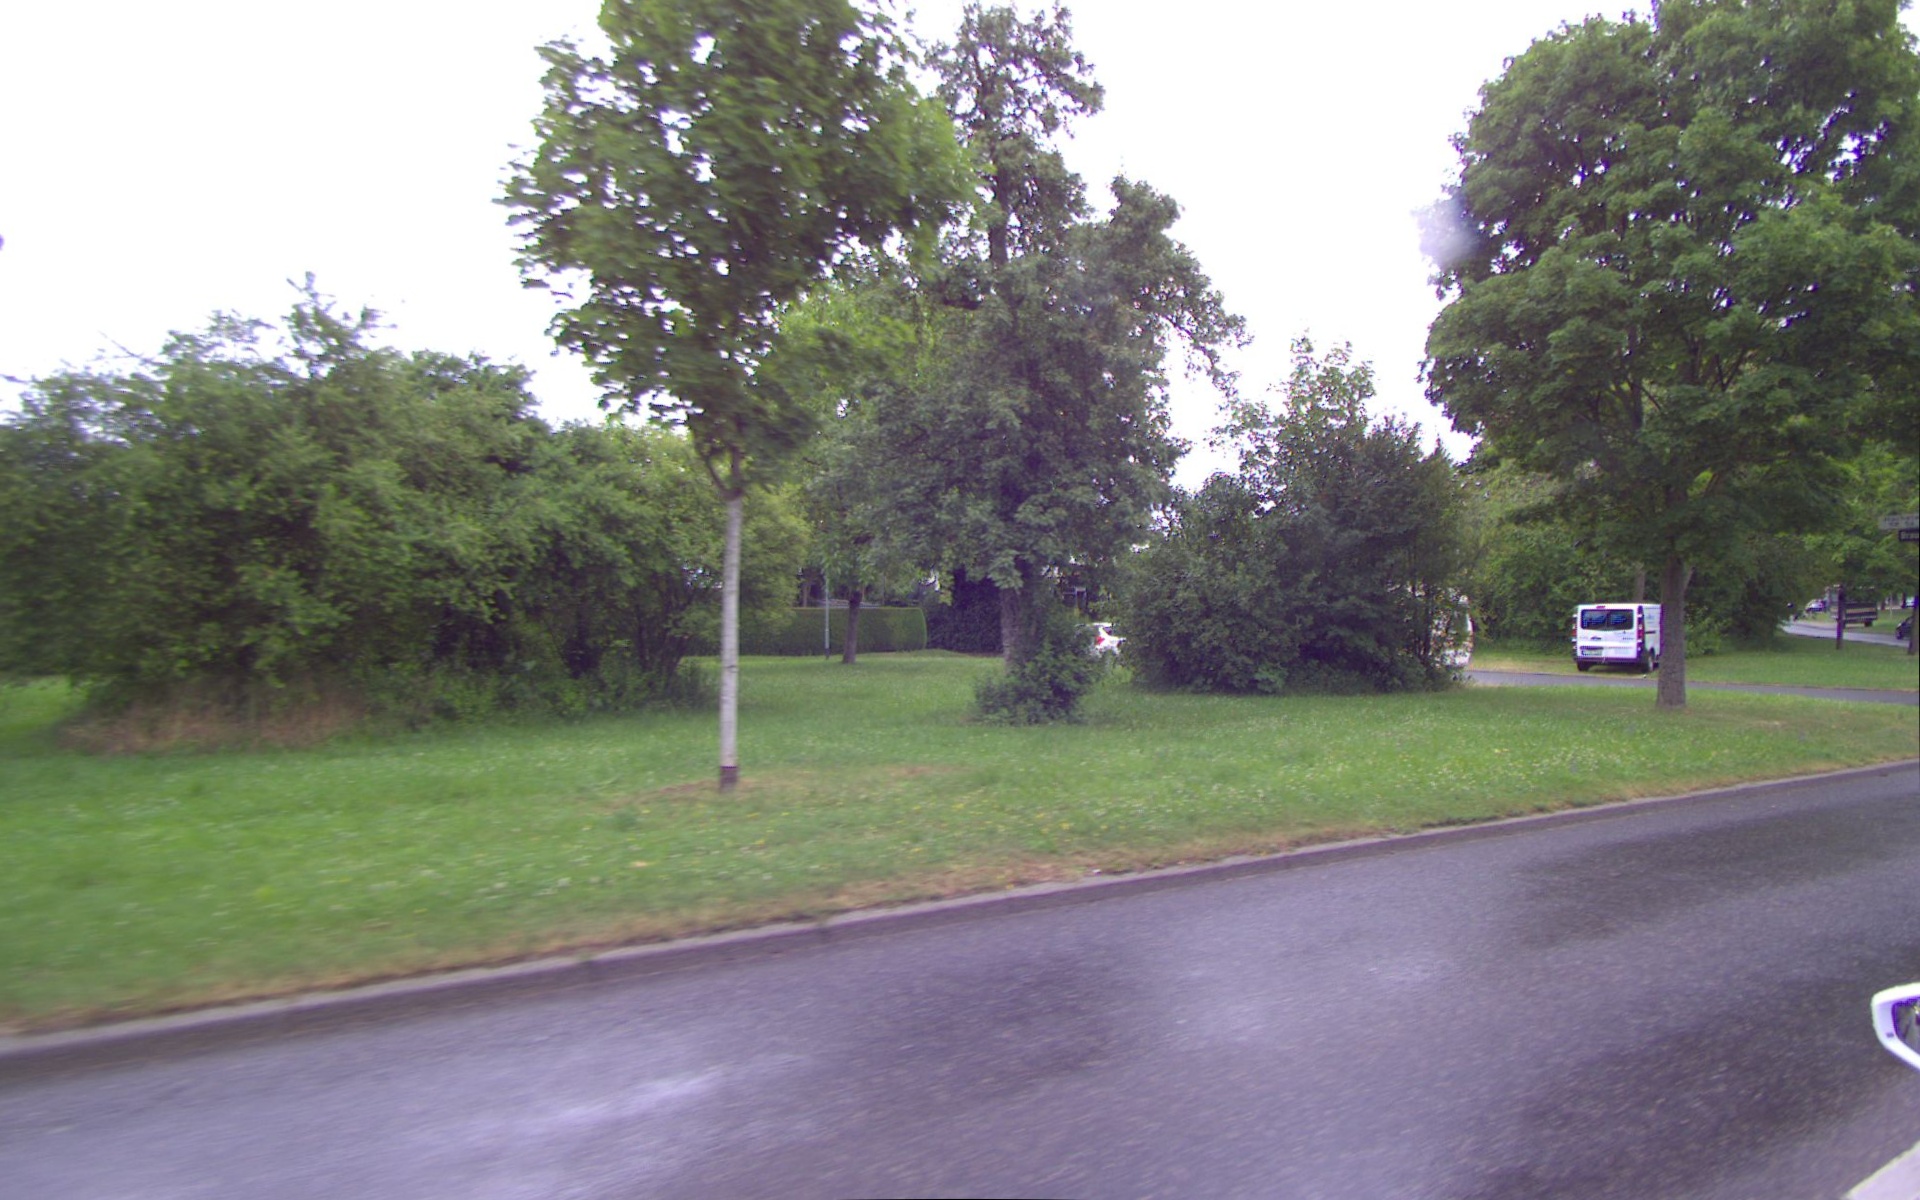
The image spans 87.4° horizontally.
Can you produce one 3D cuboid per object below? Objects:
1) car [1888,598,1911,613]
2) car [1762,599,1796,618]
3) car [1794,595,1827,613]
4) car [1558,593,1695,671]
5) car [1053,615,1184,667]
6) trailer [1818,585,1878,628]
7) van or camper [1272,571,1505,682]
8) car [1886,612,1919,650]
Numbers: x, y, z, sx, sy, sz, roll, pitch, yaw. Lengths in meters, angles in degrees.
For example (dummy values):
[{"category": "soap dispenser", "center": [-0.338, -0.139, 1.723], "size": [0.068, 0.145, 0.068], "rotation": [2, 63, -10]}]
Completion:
[{"category": "car", "center": [123.938, 0.753, 132.491], "size": [3.972, 1.832, 1.974], "rotation": [1, 1, -43]}, {"category": "car", "center": [76.919, 0.806, 94.363], "size": [1.763, 1.558, 4.083], "rotation": [3, 3, 30]}, {"category": "car", "center": [92.926, 0.422, 109.739], "size": [3.967, 1.828, 1.977], "rotation": [1, 1, -40]}, {"category": "car", "center": [20.338, 0.912, 30.550], "size": [5.431, 2.013, 2.109], "rotation": [-3, 0, -42]}, {"category": "car", "center": [5.298, 1.364, 33.423], "size": [4.312, 1.602, 1.839], "rotation": [2, -1, -37]}, {"category": "trailer", "center": [65.019, 0.440, 73.663], "size": [1.965, 2.844, 5.597], "rotation": [-5, -2, 29]}, {"category": "van or camper", "center": [10.668, 0.661, 24.708], "size": [6.751, 2.392, 2.366], "rotation": [2, -2, -38]}, {"category": "car", "center": [52.918, 1.718, 55.145], "size": [1.871, 2.040, 3.940], "rotation": [3, 1, 26]}]
